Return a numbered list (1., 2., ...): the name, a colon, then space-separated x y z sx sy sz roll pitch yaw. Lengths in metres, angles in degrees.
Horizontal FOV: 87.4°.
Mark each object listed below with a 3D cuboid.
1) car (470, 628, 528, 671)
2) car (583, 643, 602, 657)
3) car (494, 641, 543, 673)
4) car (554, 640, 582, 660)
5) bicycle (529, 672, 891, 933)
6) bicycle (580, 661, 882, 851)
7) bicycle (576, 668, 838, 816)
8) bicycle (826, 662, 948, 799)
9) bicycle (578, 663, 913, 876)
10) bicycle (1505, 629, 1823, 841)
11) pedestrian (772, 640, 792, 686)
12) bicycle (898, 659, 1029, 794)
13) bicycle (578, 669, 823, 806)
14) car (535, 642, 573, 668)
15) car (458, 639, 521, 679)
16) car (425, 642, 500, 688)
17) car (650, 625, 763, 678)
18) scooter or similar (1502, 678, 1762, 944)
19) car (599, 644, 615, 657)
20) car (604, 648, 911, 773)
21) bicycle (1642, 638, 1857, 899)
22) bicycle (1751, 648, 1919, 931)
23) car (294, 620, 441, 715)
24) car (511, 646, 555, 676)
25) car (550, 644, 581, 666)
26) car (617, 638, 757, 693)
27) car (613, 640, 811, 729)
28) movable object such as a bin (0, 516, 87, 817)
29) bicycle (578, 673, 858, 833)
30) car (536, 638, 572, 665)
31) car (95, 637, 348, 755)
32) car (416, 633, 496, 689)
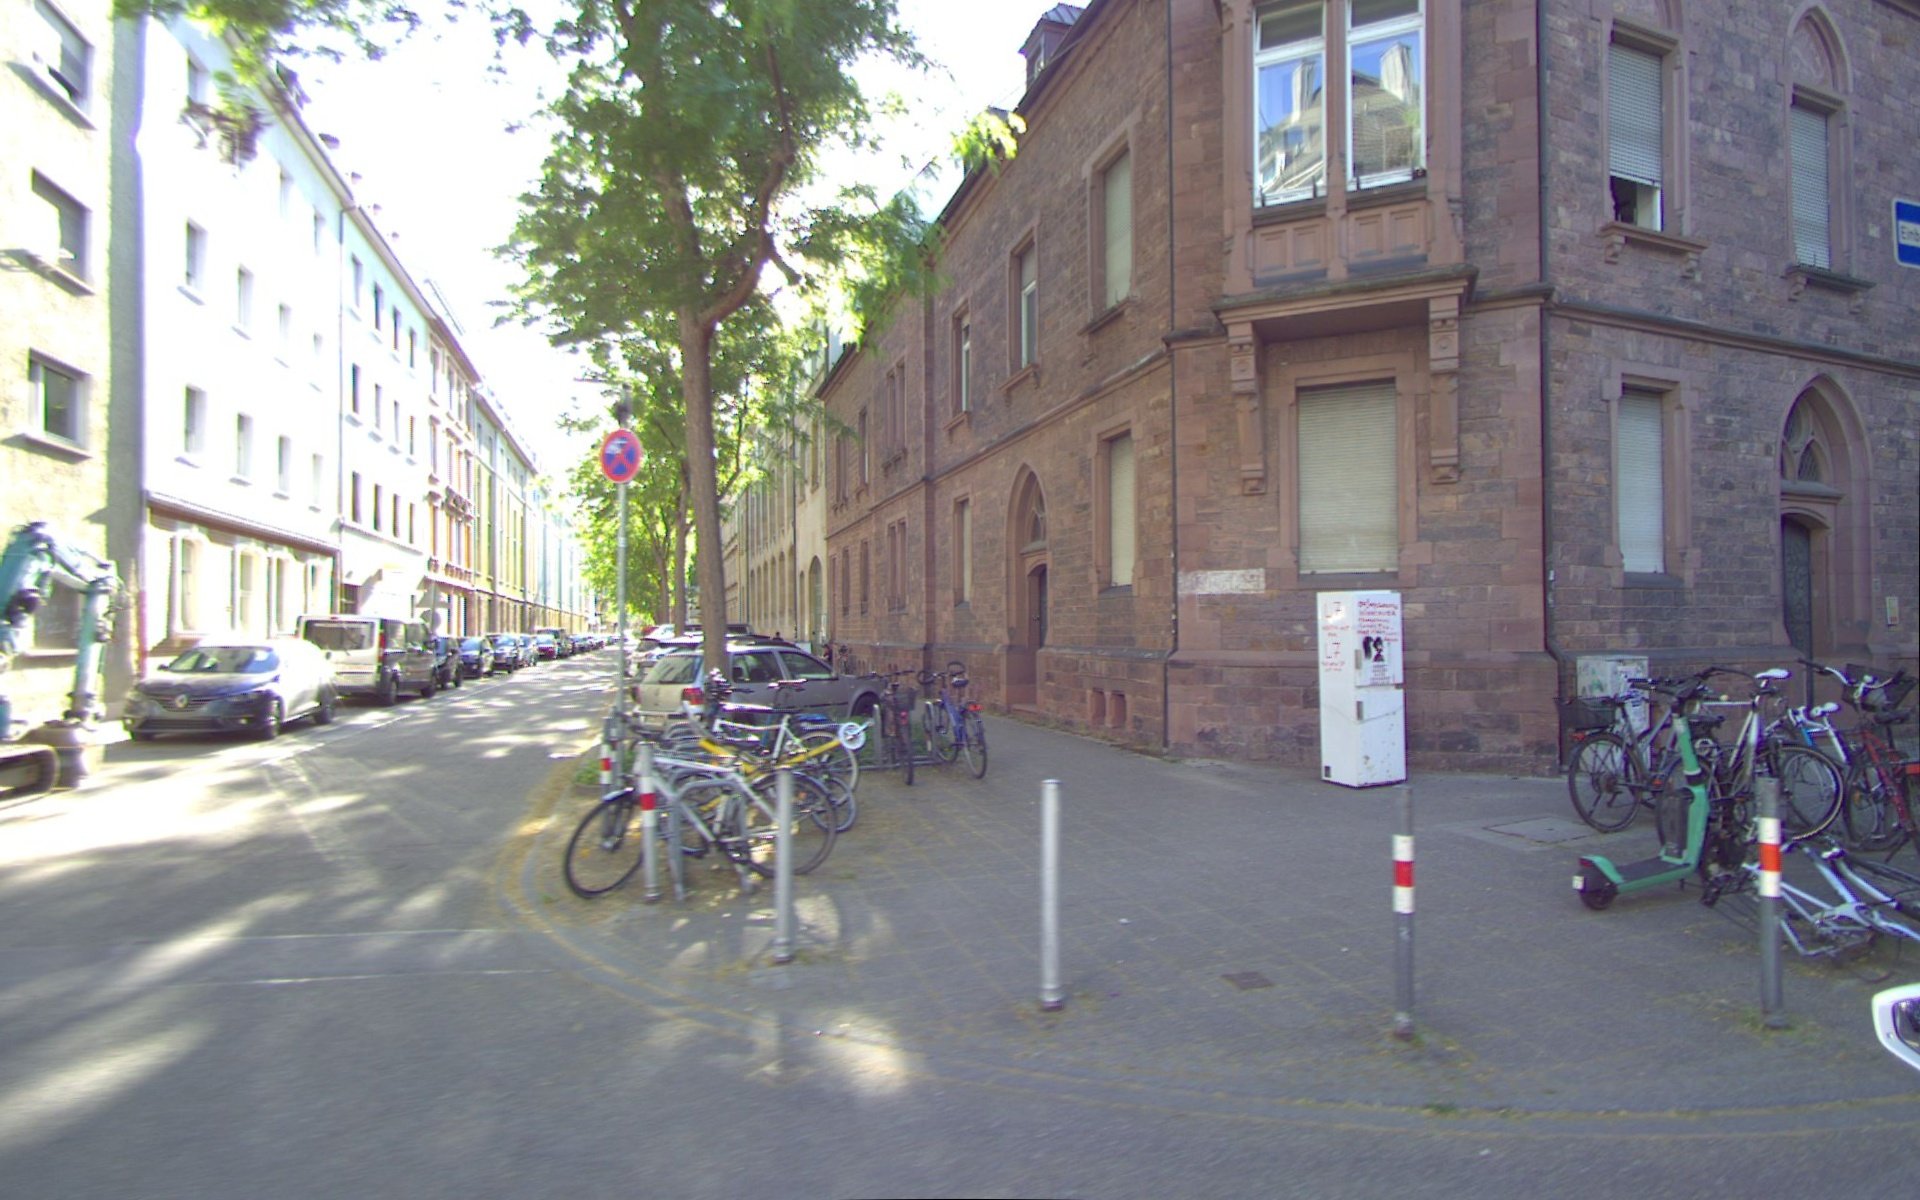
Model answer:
1. car: -20.691 2.188 45.240 1.806 1.823 3.987 0 -2 -17
2. car: -41.854 5.660 114.505 1.771 1.511 3.986 0 -2 -17
3. car: -22.058 2.823 50.263 1.771 1.511 3.986 0 -2 -17
4. car: -31.152 3.919 79.918 1.771 1.511 3.986 0 -2 -17
5. bicycle: -1.564 1.195 6.399 2.111 1.338 0.681 -2 -1 -22
6. bicycle: -1.940 1.261 8.584 2.409 1.338 0.681 -2 -1 -22
7. bicycle: -2.473 1.341 9.898 2.409 1.195 0.682 -2 -1 -22
8. bicycle: -0.805 1.284 10.417 0.675 1.195 1.959 -2 -1 -22
9. bicycle: -1.629 1.218 7.735 2.409 1.338 0.681 -2 -1 -22
10. bicycle: 5.530 0.963 7.842 2.758 1.442 0.681 0 -2 -24
11. pedestrian: -7.260 2.548 40.872 0.724 1.808 1.004 0 -2 -15
12. bicycle: -0.016 1.253 10.516 0.675 1.195 1.959 -2 -1 -21
13. bicycle: -2.716 1.391 10.567 2.409 1.195 0.682 -2 -1 -22
14. car: -24.638 3.313 61.004 1.771 1.511 3.986 0 -2 -17
15. car: -19.015 2.354 40.741 1.771 1.511 3.986 0 -2 -17
16. car: -17.806 2.279 36.134 1.771 1.511 3.986 0 -2 -17
17. car: -9.857 1.965 39.228 1.832 1.928 3.981 -2 -2 40
18. scooter or similar: 3.724 1.107 5.577 1.281 1.294 0.529 0 -2 -20
19. car: -46.100 6.575 131.105 1.771 1.511 3.986 0 -2 -17
20. car: -2.868 1.509 14.943 1.834 1.503 4.248 -2 -2 42
21. bicycle: 5.320 0.990 6.695 2.481 1.442 0.568 1 -2 -39
22. bicycle: 5.535 0.992 6.032 2.481 1.362 0.677 1 -2 -39
23. car: -13.575 1.486 23.342 1.968 1.965 4.595 0 -2 -18
24. car: -23.415 3.337 55.173 1.771 1.511 3.986 0 -2 -17
25. car: -28.528 3.969 72.793 1.771 1.511 3.986 0 -2 -17
26. car: -8.613 2.017 31.920 1.832 1.588 3.981 -2 -2 40
27. car: -5.009 1.656 20.827 1.826 1.614 3.995 -1 -2 28
28. movable object such as a bin: -9.416 0.590 8.556 2.037 2.635 2.751 0 -2 -18
29. bicycle: -2.210 1.344 9.234 2.409 1.195 0.682 -2 -1 -22
30. car: -26.470 3.324 65.581 1.771 1.644 3.986 0 -2 -17
31. car: -11.437 1.414 15.952 1.879 1.587 4.189 2 -2 -17
32. car: -17.649 2.079 35.350 1.806 1.823 3.987 0 -2 -17
